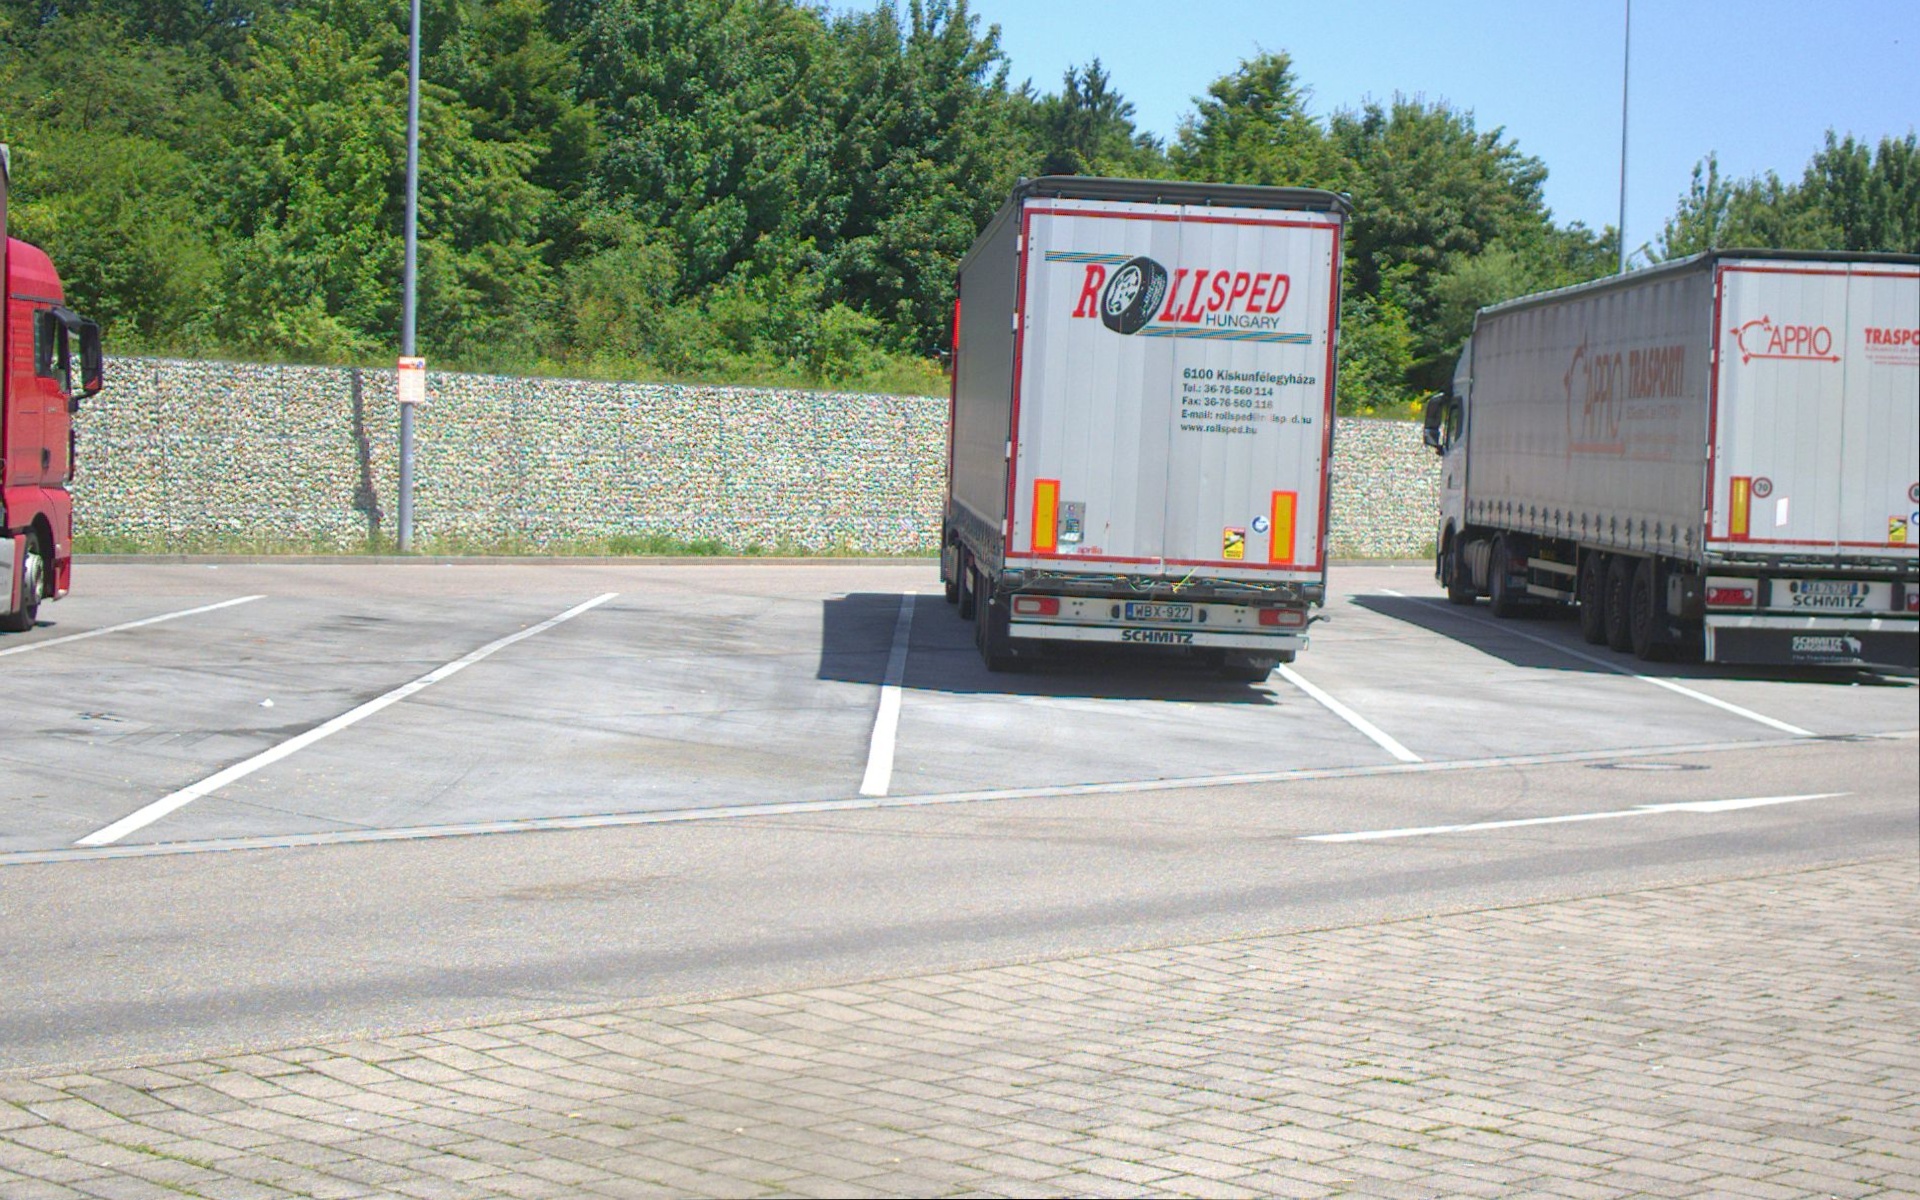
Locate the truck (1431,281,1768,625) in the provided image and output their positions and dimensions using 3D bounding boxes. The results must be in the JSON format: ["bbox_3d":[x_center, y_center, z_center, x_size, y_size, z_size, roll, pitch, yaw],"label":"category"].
[{"bbox_3d":[8.120,-1.948,44.588,2.866,4.023,6.957,2,3,0],"label":"truck"}]

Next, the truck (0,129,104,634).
[{"bbox_3d":[-9.153,-1.810,27.985,2.696,4.099,6.240,2,3,0],"label":"truck"}]

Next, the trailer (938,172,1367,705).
[{"bbox_3d":[1.435,-1.634,33.624,2.866,4.023,14.243,2,3,-2],"label":"trailer"}]

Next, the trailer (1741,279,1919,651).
[{"bbox_3d":[11.834,-1.525,39.025,2.866,4.023,12.439,2,3,0],"label":"trailer"}]

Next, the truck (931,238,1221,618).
[{"bbox_3d":[1.223,-2.052,40.702,2.866,4.023,7.028,2,3,-2],"label":"truck"}]

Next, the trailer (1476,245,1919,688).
[{"bbox_3d":[8.179,-1.565,37.961,2.866,4.023,12.439,2,3,0],"label":"trailer"}]
